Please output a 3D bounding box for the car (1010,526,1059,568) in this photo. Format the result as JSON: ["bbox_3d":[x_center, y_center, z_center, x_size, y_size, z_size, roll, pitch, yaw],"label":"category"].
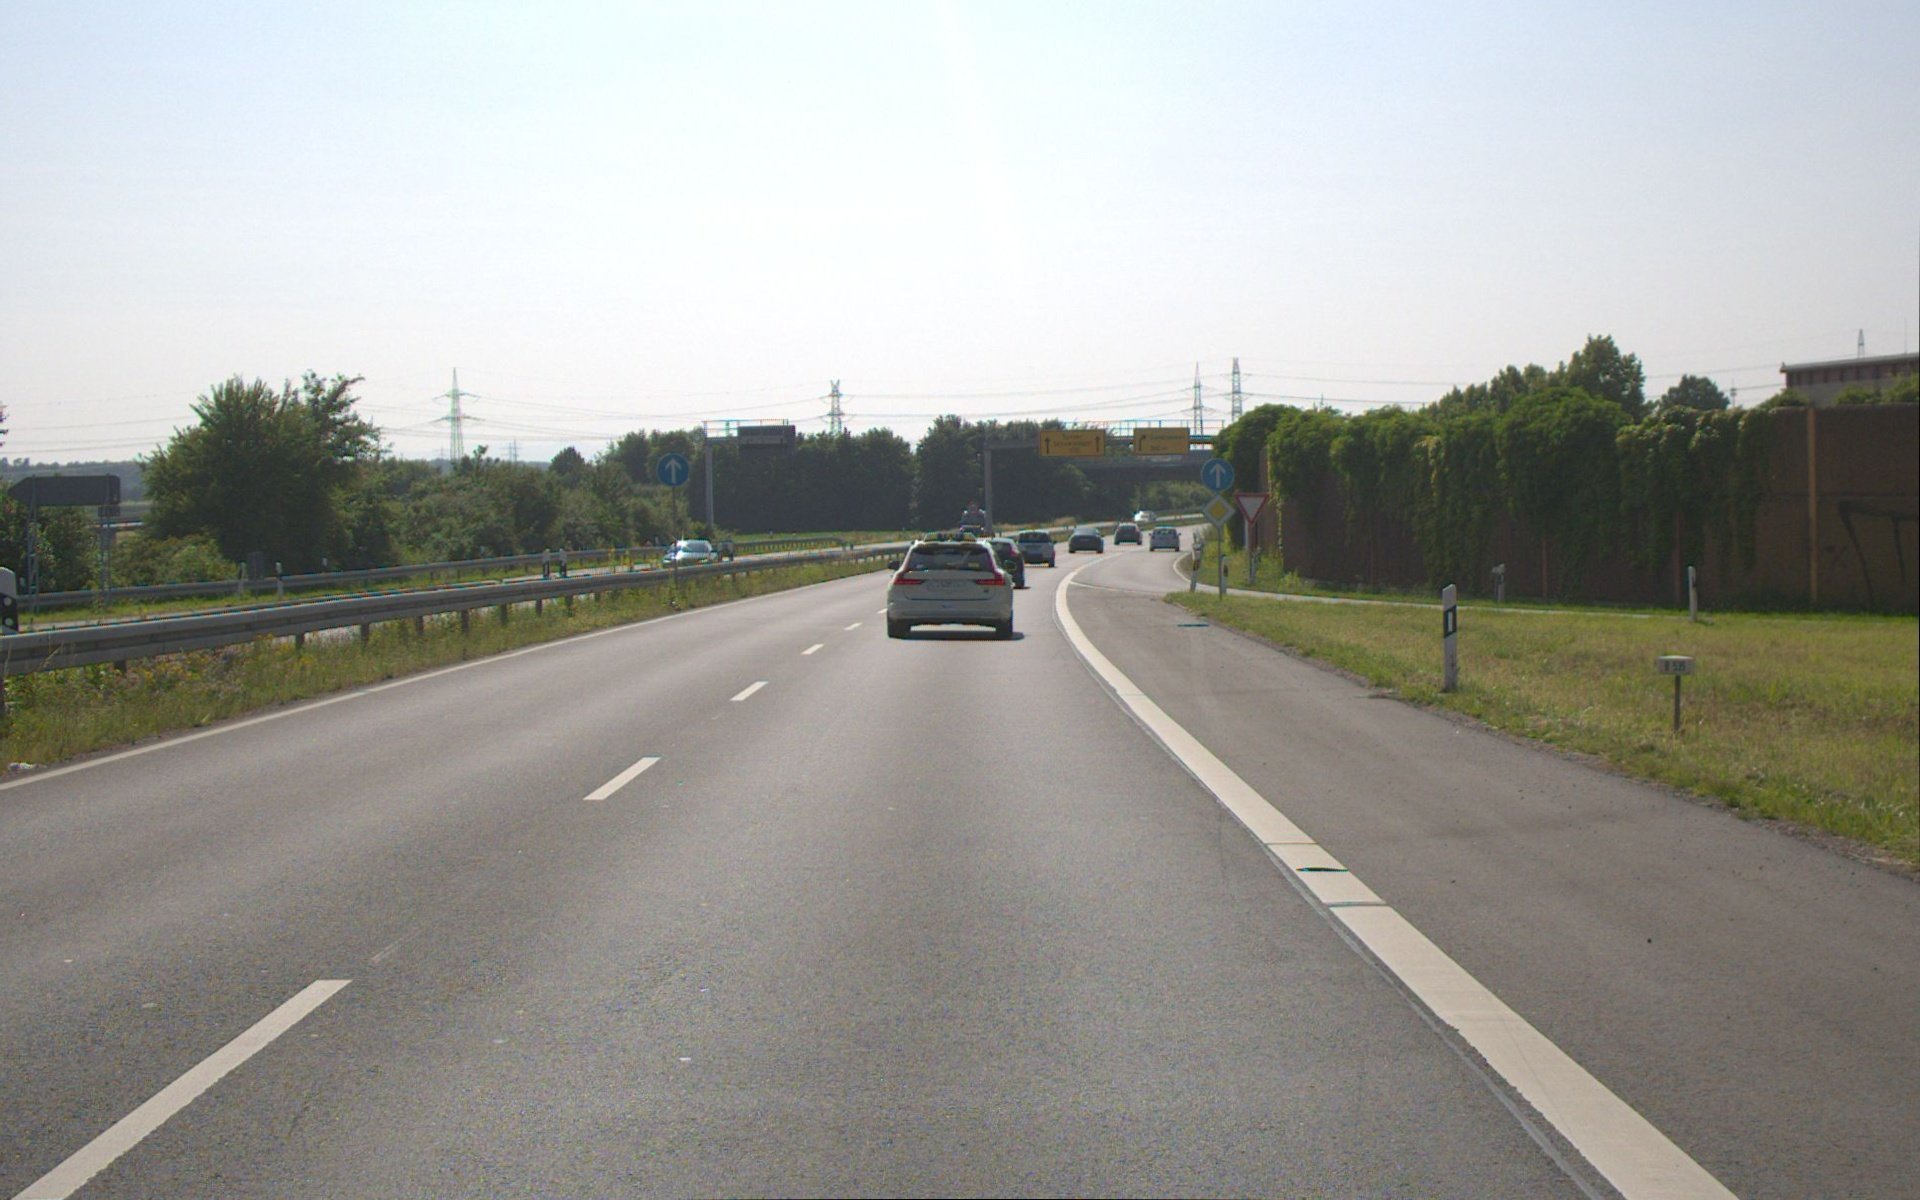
[{"bbox_3d":[3.111,-2.205,143.376,1.769,1.730,3.631,0,1,5],"label":"car"}]

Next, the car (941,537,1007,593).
[{"bbox_3d":[0.421,-1.001,97.245,1.793,1.538,3.672,0,1,1],"label":"car"}]

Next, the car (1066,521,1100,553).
[{"bbox_3d":[7.050,-3.601,197.216,1.841,1.796,4.000,0,1,3],"label":"car"}]

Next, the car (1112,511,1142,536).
[{"bbox_3d":[11.704,-5.349,240.803,1.841,1.692,3.999,0,1,6],"label":"car"}]

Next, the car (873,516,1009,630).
[{"bbox_3d":[-0.291,-0.441,52.170,1.958,1.596,4.108,1,2,0],"label":"car"}]

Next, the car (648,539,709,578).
[{"bbox_3d":[-10.601,-1.562,129.763,1.800,1.415,4.676,1,1,1],"label":"car"}]
